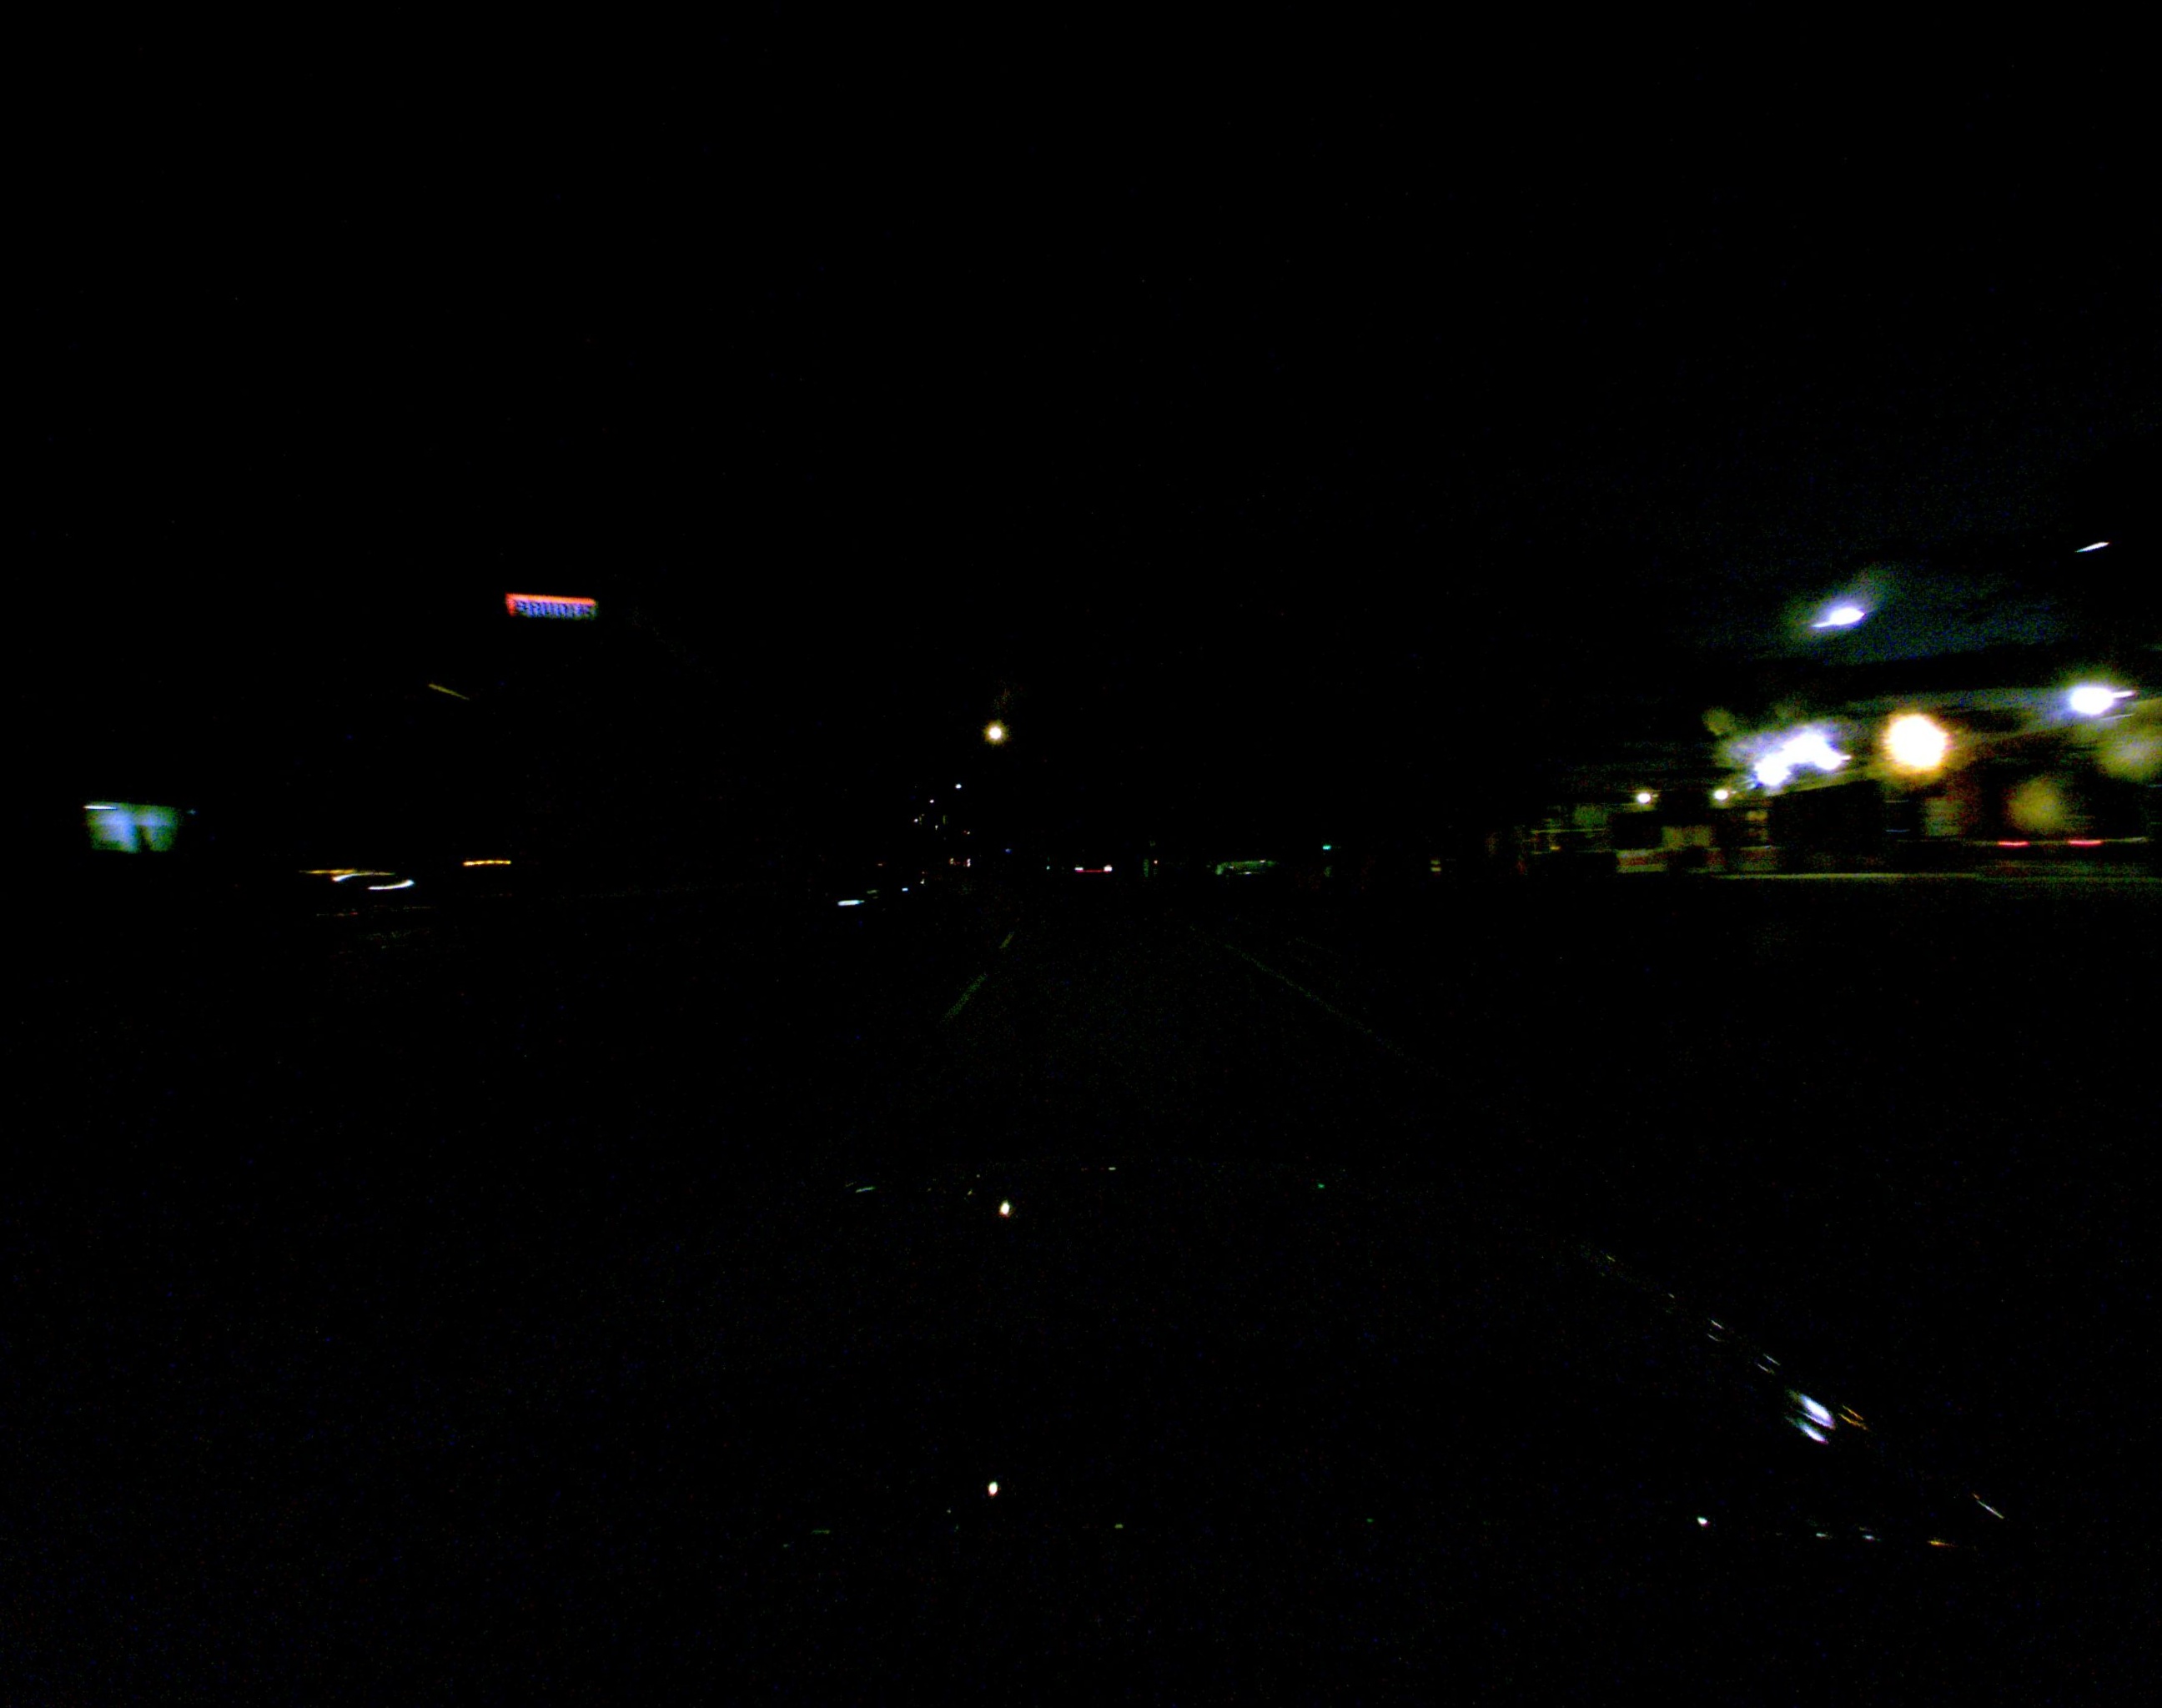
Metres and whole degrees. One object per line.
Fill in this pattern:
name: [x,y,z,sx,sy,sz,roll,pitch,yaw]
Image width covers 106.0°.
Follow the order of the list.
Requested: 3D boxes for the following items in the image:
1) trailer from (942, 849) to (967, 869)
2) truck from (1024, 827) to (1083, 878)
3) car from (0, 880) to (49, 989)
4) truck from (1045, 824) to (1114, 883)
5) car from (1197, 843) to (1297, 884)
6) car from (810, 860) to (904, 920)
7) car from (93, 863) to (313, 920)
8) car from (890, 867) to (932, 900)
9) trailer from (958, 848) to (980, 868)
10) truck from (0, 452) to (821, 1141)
trailer: [-20.916,0.820,134.688,3.490,3.219,4.836,0,-1,-17]
truck: [-2.456,-0.062,67.644,2.759,3.783,10.175,-2,0,-14]
car: [-16.242,1.121,10.120,4.019,1.424,1.860,-2,0,-8]
truck: [-0.253,-0.011,57.647,2.759,3.783,9.094,-2,0,-14]
car: [8.066,0.440,39.703,4.334,1.646,1.882,-4,1,-15]
car: [-6.658,1.012,24.662,1.863,1.593,4.487,-1,0,-4]
car: [-25.069,1.000,23.540,1.901,1.457,4.452,0,0,-8]
car: [-7.924,1.343,38.247,1.815,1.371,4.344,-1,0,-11]
trailer: [-16.665,0.628,120.881,2.620,2.846,4.681,0,-1,-17]
truck: [-6.003,-0.332,9.595,2.763,4.120,9.339,-2,0,0]
